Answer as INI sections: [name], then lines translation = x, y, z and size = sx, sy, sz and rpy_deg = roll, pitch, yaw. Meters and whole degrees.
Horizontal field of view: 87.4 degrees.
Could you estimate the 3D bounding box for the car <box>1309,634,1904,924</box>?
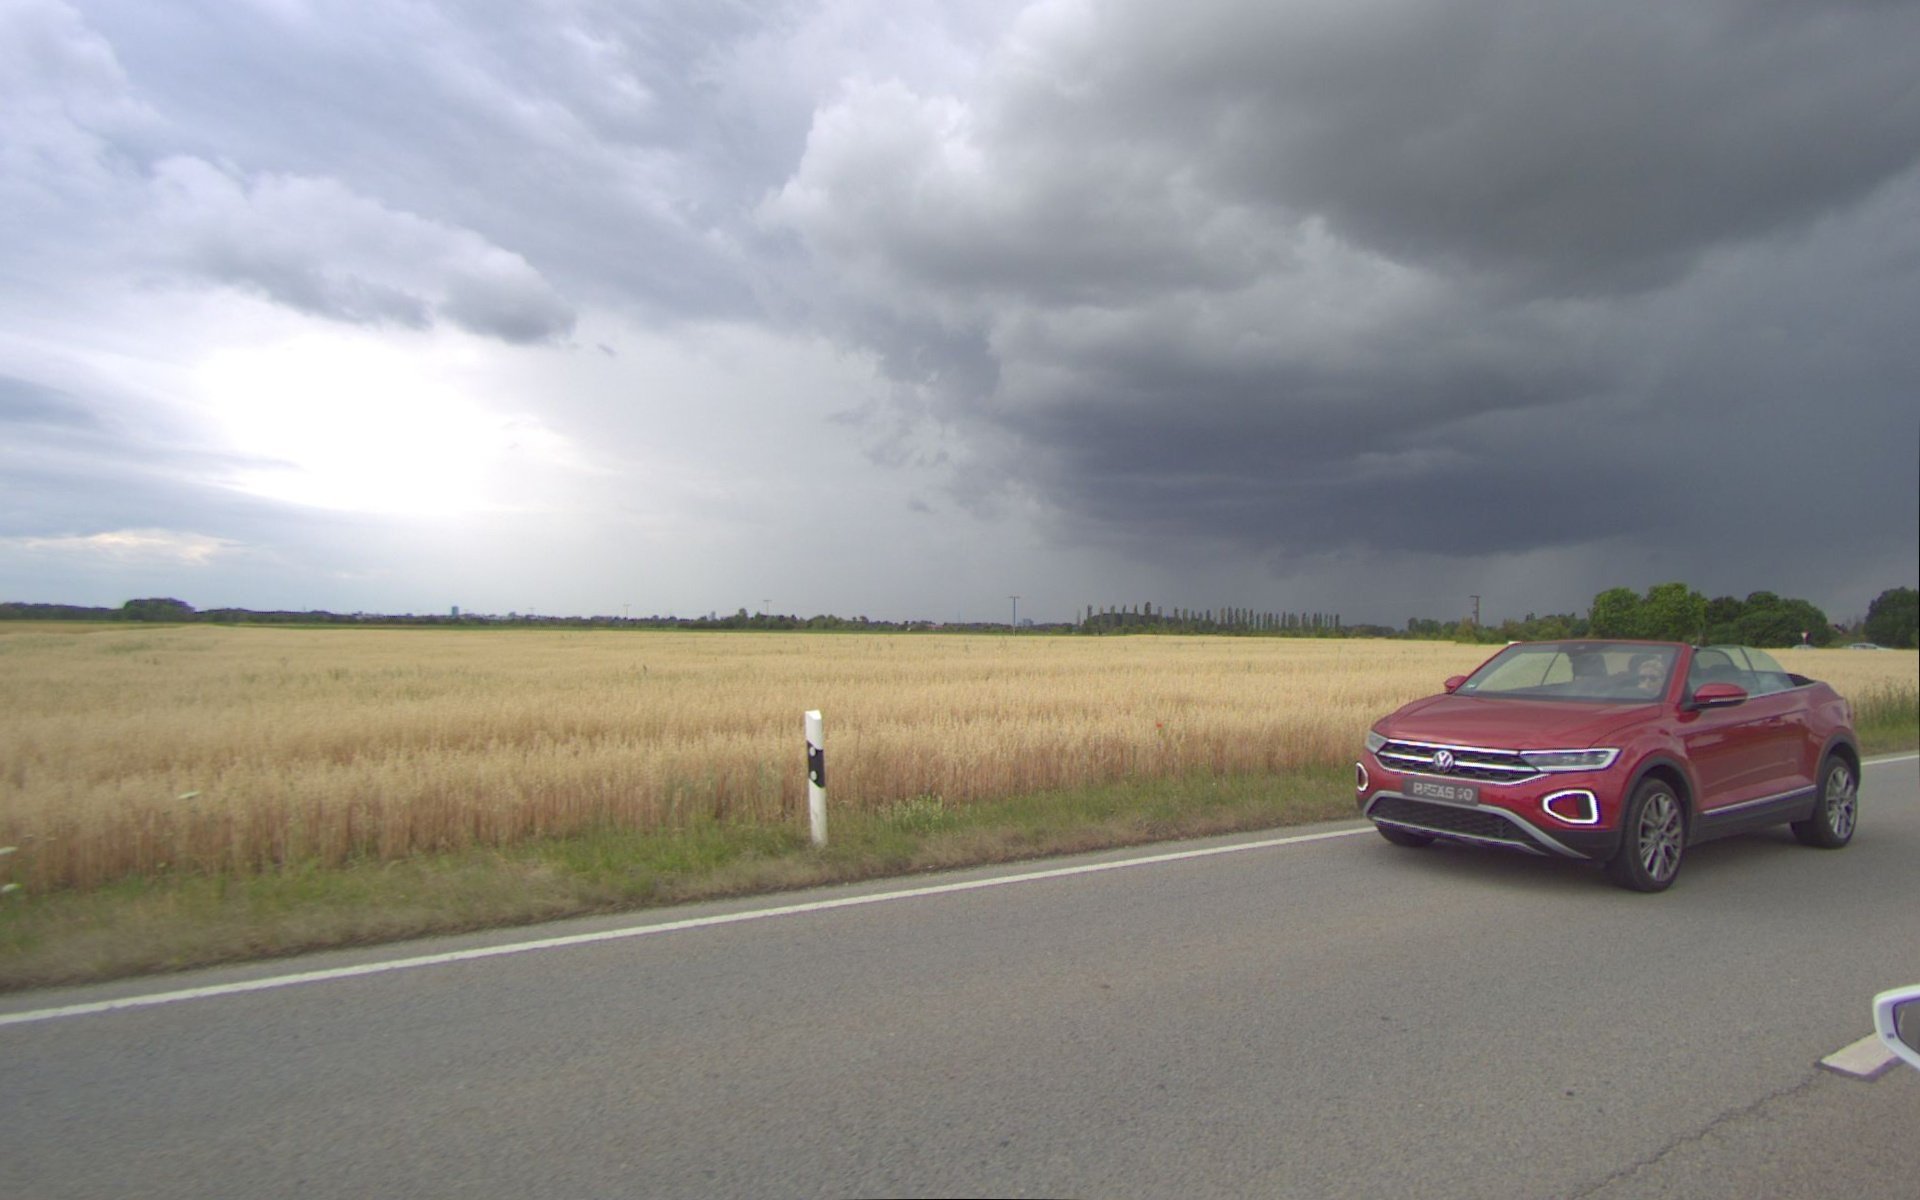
[car]
translation = 4.733, 1.028, 7.175
size = 4.554, 1.508, 1.704
rpy_deg = 2, -2, -30
